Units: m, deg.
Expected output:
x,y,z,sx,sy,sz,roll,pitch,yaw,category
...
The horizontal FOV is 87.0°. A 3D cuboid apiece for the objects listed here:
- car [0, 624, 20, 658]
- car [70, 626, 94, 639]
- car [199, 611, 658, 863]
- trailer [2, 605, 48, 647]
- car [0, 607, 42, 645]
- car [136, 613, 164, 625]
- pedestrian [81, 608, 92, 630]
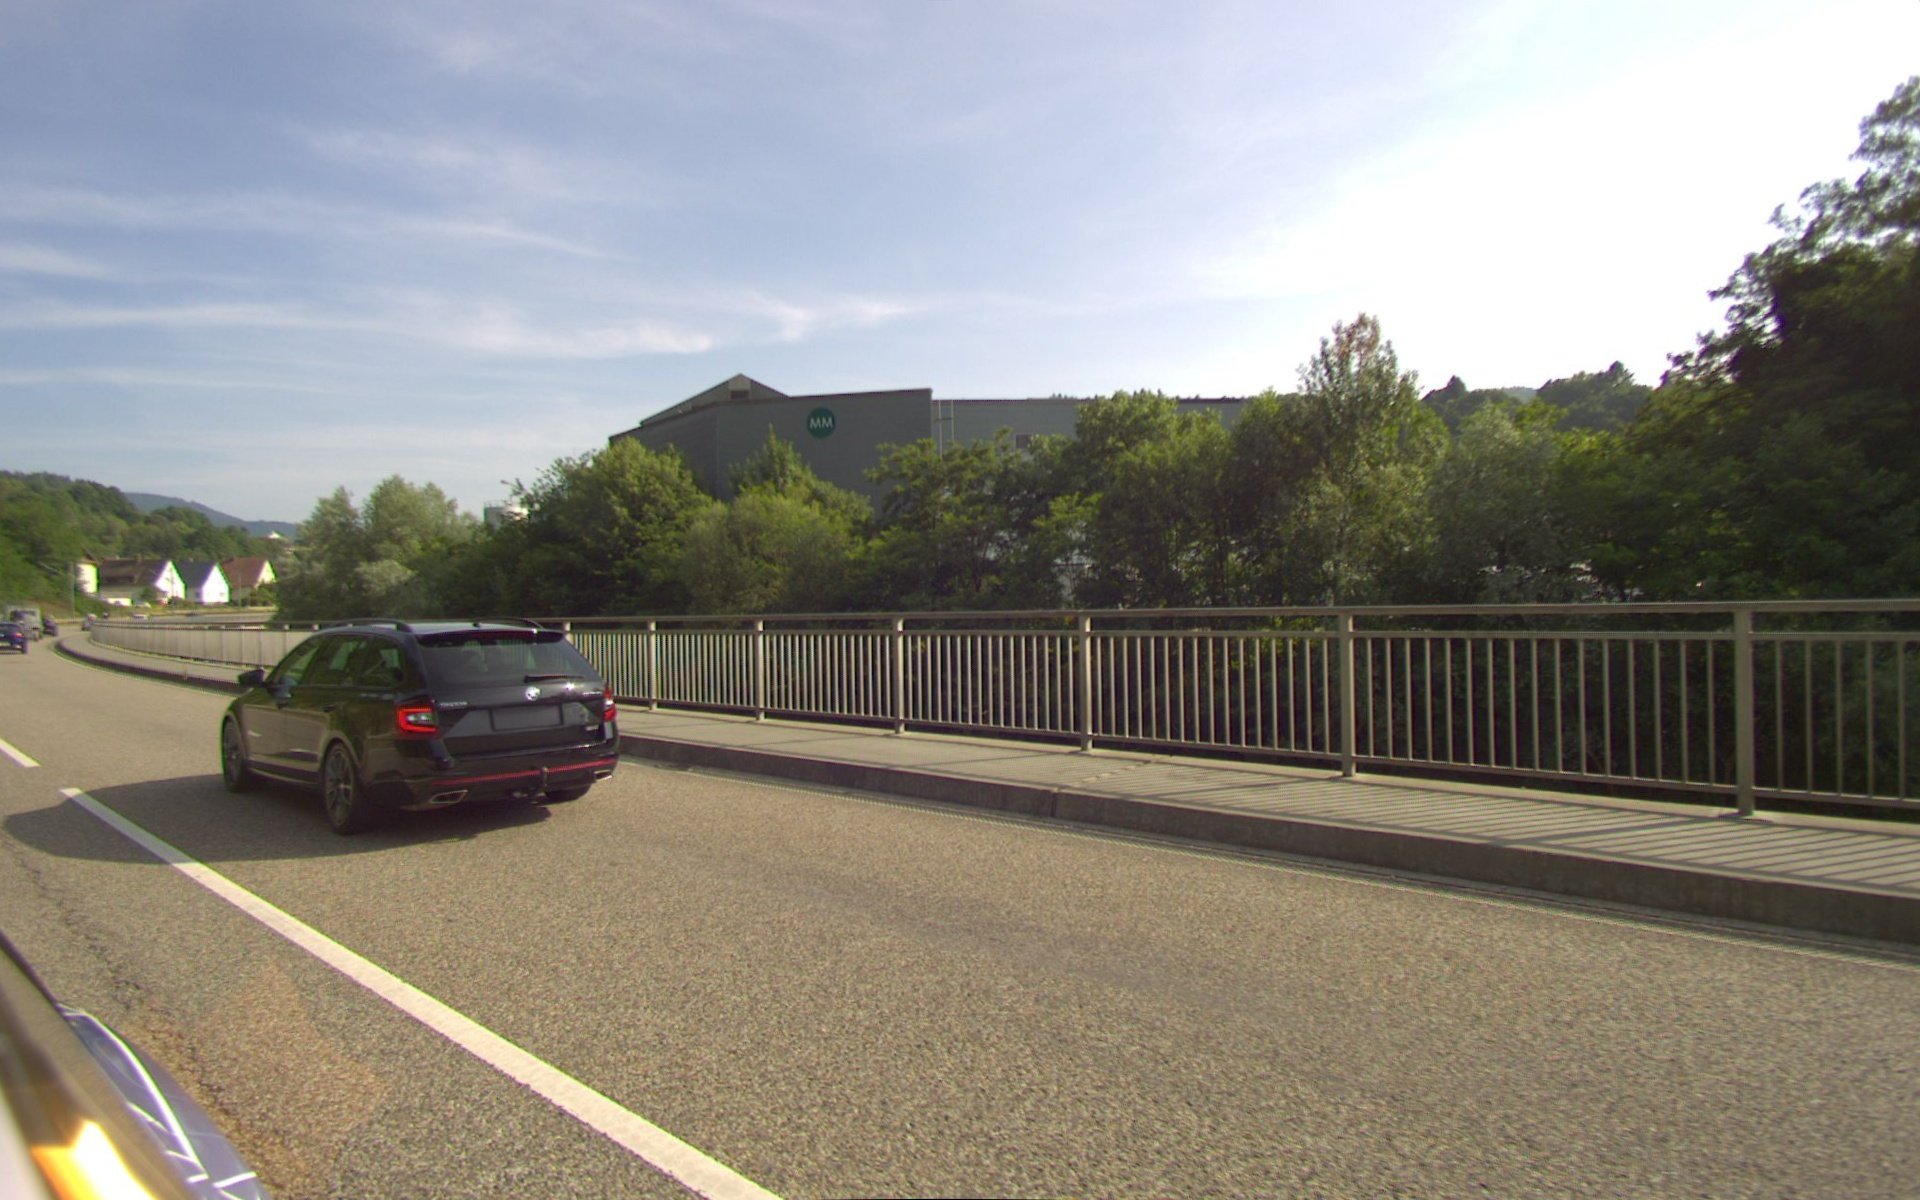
x,y,z,sx,sy,sz,roll,pitch,yaw,category
-43.888,1.839,45.952,1.683,1.442,4.078,1,-1,-44,car
-94.965,3.502,109.505,1.563,1.320,3.509,3,-3,-36,car
-4.345,0.839,7.946,4.336,1.446,1.703,-1,-1,40,car
-63.079,1.726,68.240,2.097,2.737,5.351,1,-1,-45,trailer
-67.299,1.851,72.435,2.133,2.551,6.582,1,-2,-44,car
-123.765,2.906,154.677,1.965,1.693,4.012,2,-2,-19,car
-73.275,1.599,84.892,0.708,1.832,0.878,1,-1,-39,pedestrian
